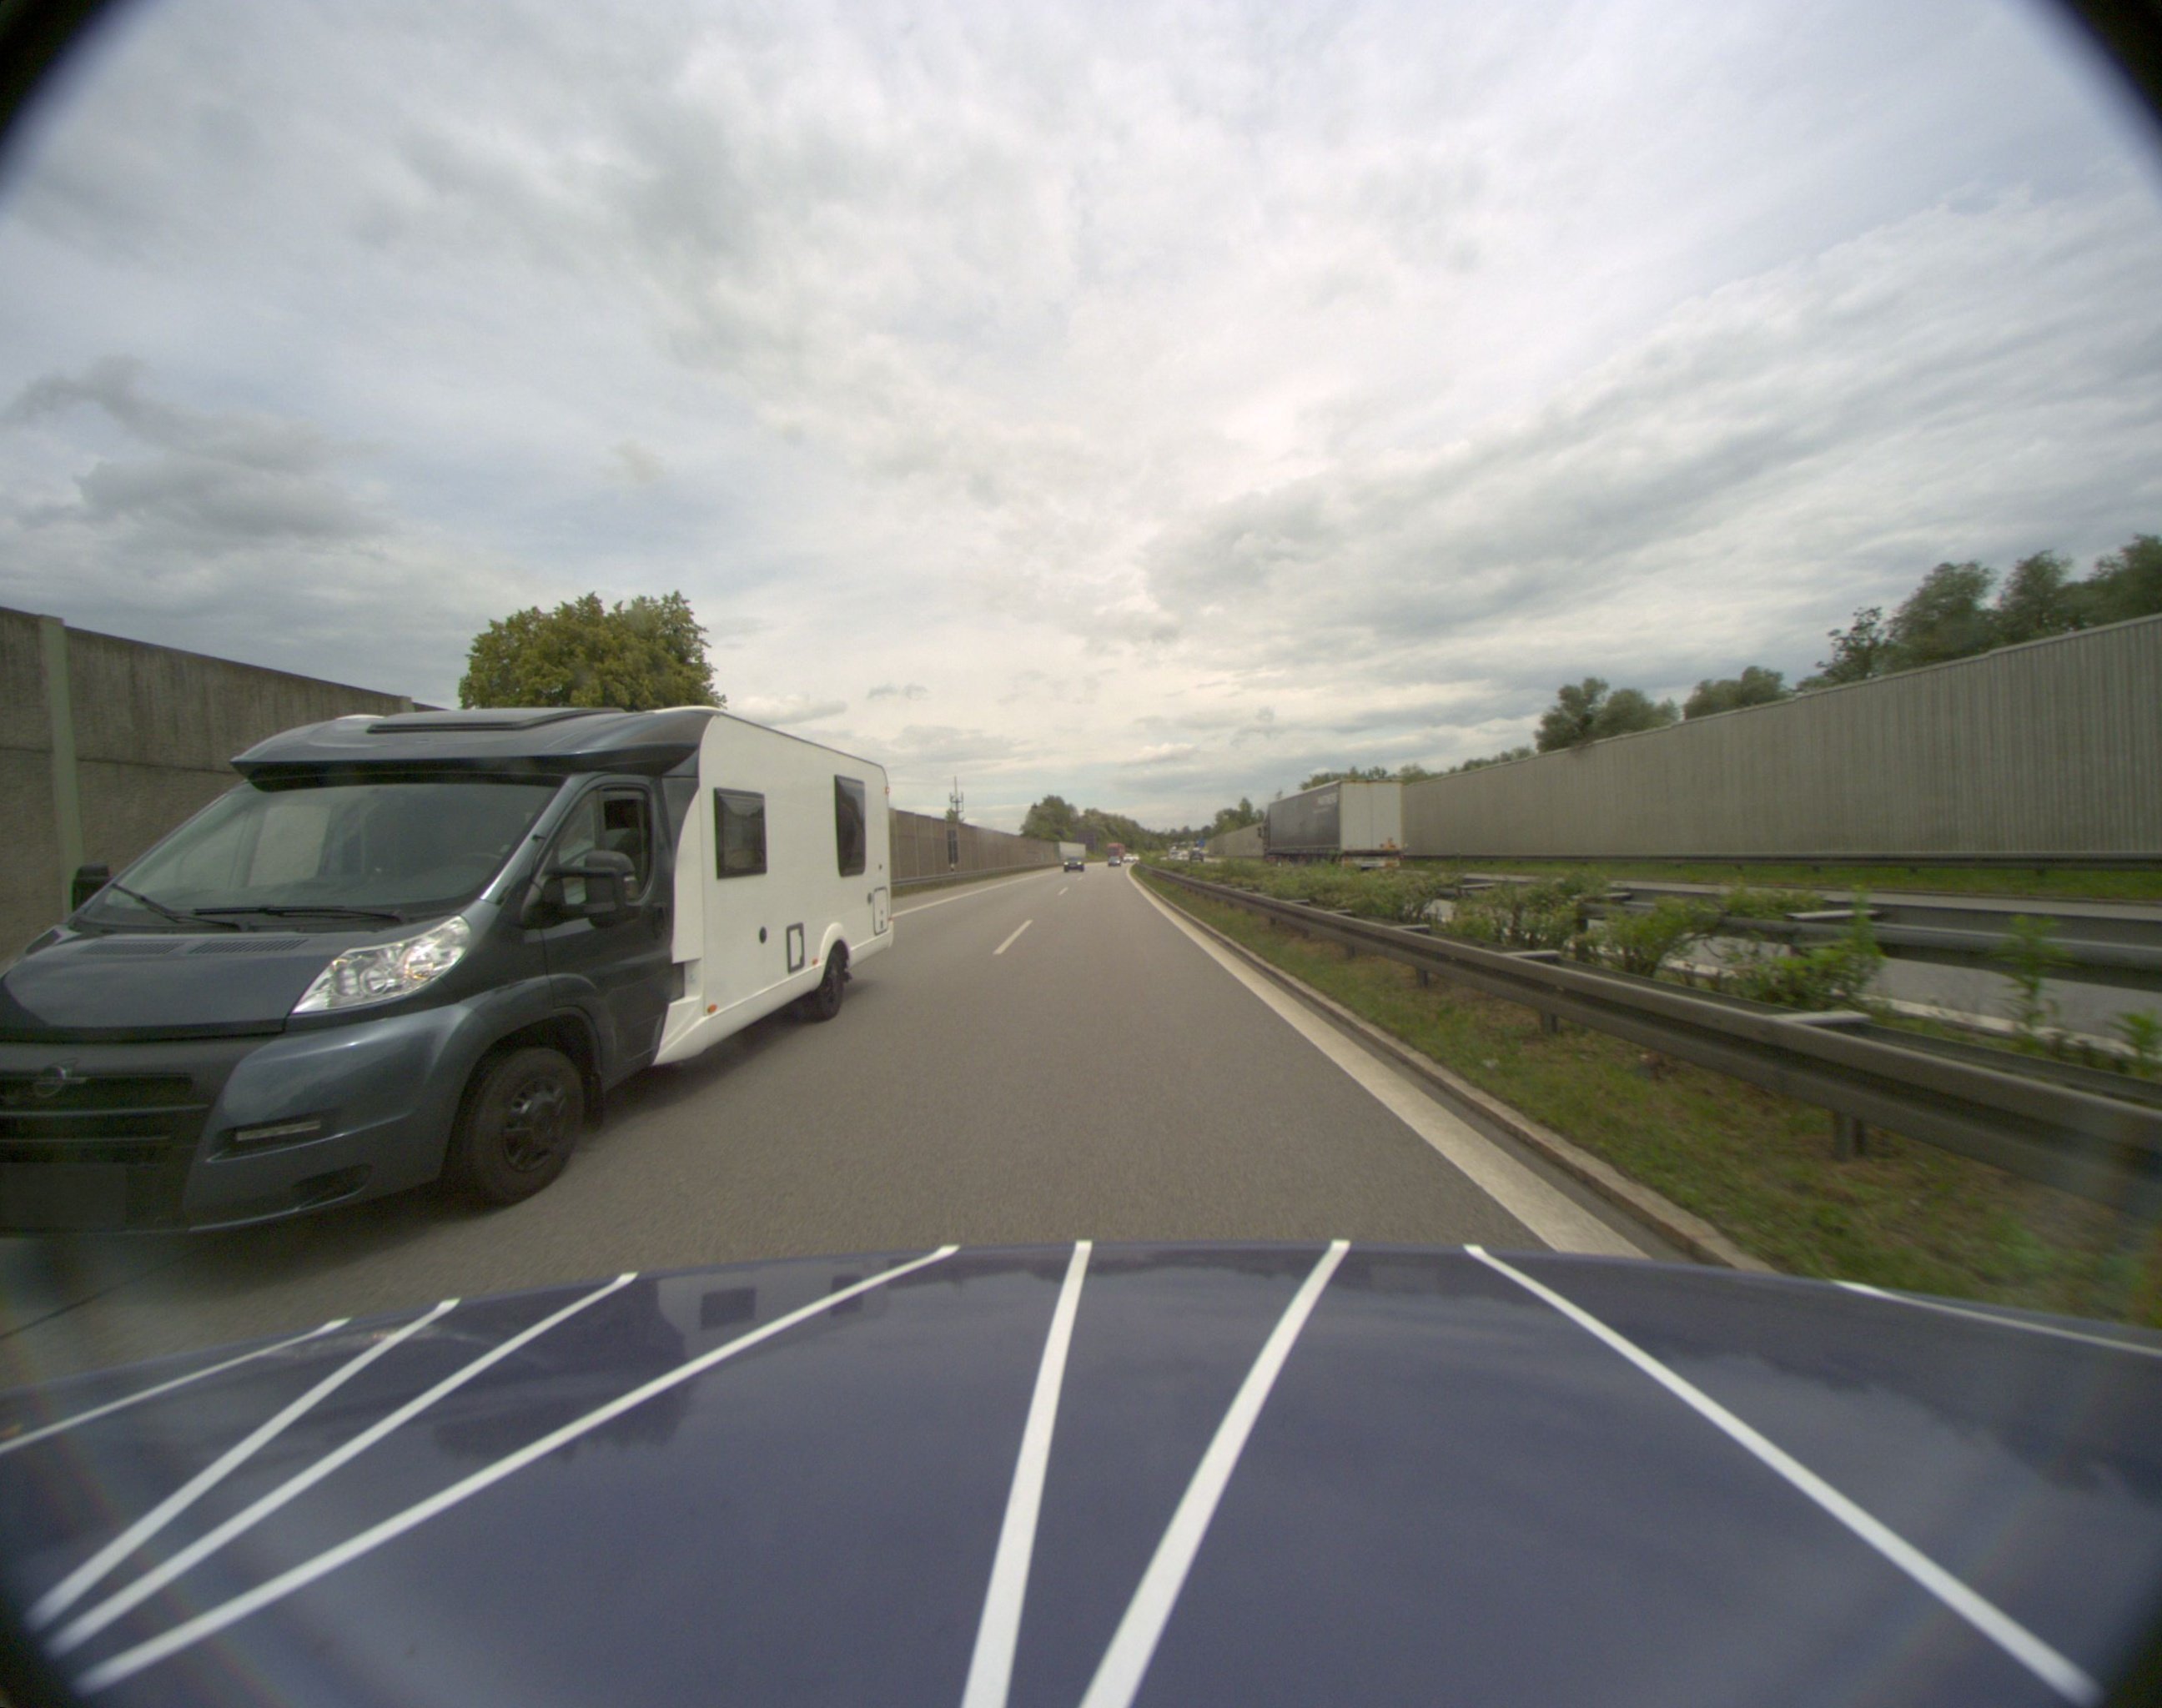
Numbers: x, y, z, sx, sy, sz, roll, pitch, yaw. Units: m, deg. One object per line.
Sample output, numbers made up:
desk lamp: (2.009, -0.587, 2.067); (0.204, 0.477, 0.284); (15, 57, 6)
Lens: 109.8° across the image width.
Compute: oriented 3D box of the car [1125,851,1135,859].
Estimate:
car: (9.549, 0.140, 149.313); (1.889, 1.608, 4.001); (-1, 0, 4)

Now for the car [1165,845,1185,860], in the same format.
car: (10.693, -0.151, 86.505); (1.935, 1.539, 4.567); (-2, 0, 3)

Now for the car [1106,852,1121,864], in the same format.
car: (4.556, 0.569, 106.214); (1.889, 1.608, 4.001); (-1, 0, 4)

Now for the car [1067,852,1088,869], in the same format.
car: (-0.340, 0.599, 75.027); (1.889, 1.608, 4.000); (-1, 0, 2)

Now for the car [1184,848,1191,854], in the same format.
car: (30.788, -0.810, 220.159); (1.745, 1.734, 4.629); (-2, 0, 5)

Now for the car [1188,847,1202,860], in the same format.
car: (15.464, -0.048, 103.237); (1.719, 1.632, 4.706); (-2, 0, 6)

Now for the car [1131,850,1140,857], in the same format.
car: (12.965, -0.084, 180.417); (1.888, 1.608, 4.002); (-1, 0, 7)

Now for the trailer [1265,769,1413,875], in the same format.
trailer: (12.186, -1.333, 37.887); (2.988, 4.215, 14.180); (-2, 0, 2)

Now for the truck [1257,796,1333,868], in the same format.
truck: (12.432, -1.218, 44.647); (2.880, 3.836, 6.075); (-2, 0, 3)

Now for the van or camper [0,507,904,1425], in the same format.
van or camper: (-3.555, 0.367, 5.865); (2.435, 2.681, 7.225); (-2, 0, 1)

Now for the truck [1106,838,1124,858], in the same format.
truck: (7.771, -1.341, 170.384); (2.932, 4.068, 11.348); (-2, 0, 8)
